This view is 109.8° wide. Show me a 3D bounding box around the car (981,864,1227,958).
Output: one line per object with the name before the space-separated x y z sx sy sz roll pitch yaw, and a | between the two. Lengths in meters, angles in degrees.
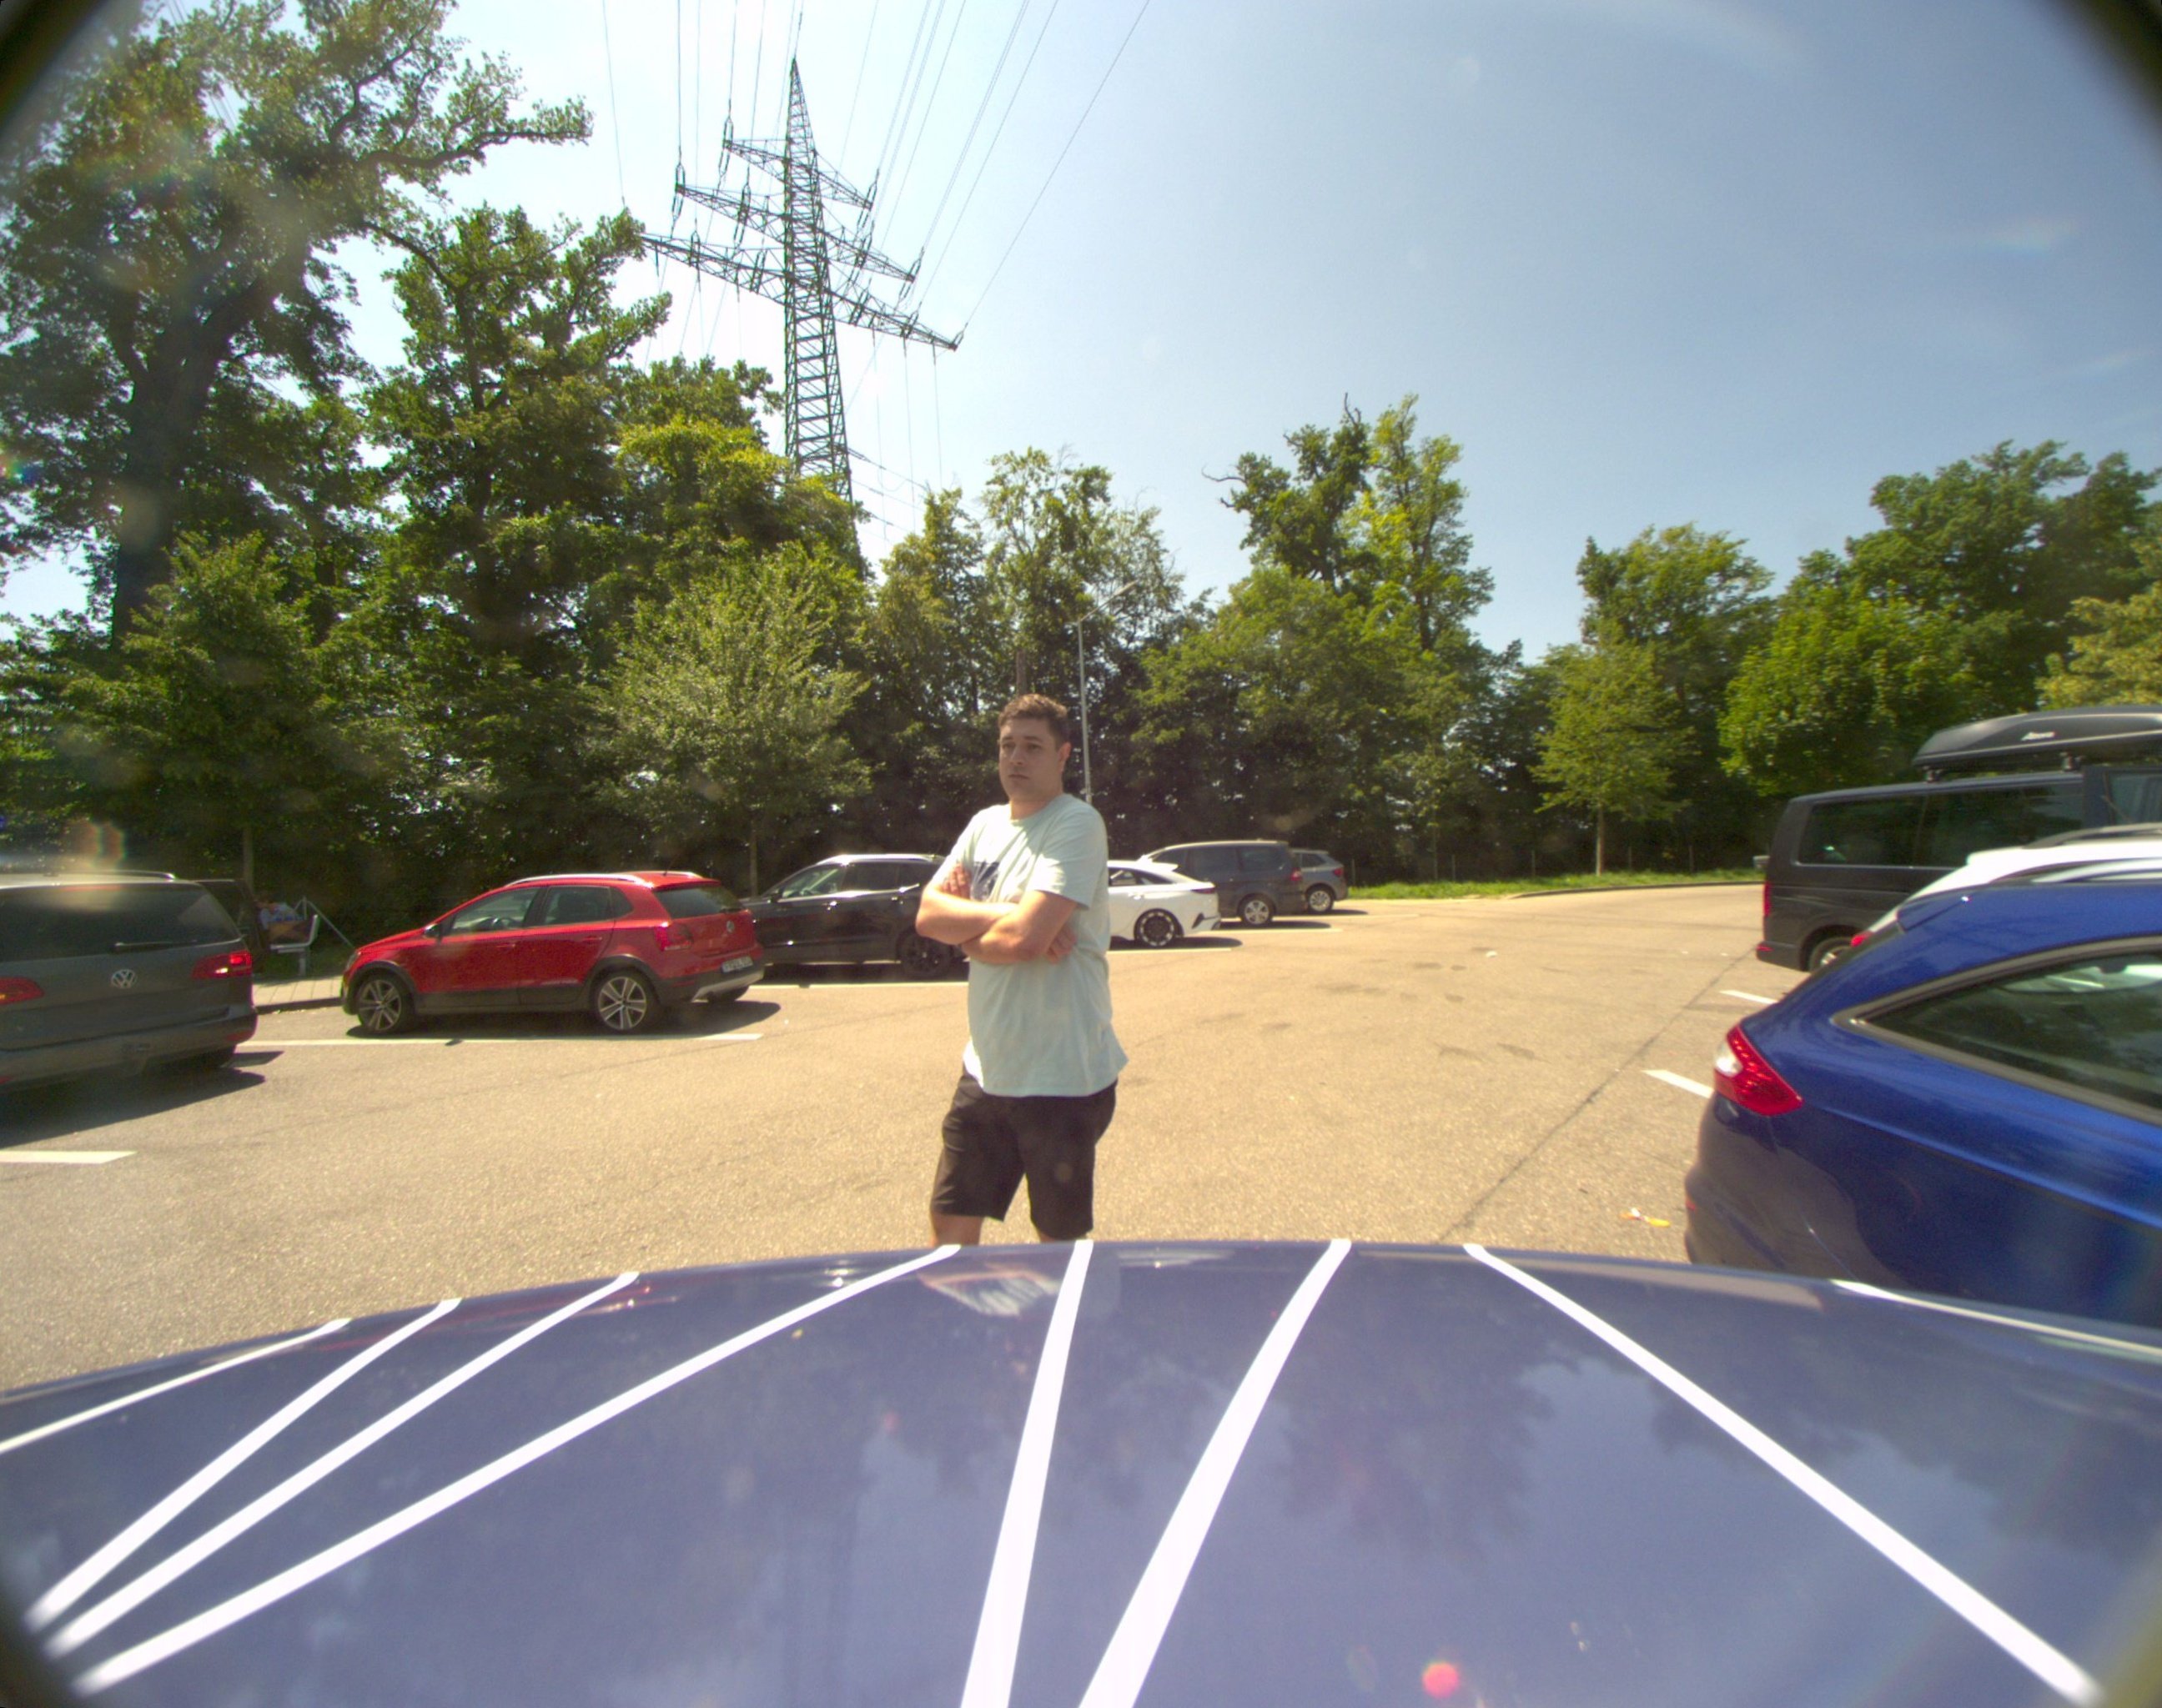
car | 0.412 0.910 12.724 3.805 1.359 1.803 -1 1 5

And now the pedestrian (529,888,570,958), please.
pedestrian | -10.164 1.300 14.519 0.490 1.291 0.506 -2 0 41

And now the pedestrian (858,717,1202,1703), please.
pedestrian | -0.186 0.668 1.880 0.634 1.857 0.747 -2 0 -17

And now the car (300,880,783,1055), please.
car | -5.237 1.066 7.648 3.804 1.449 1.637 -1 1 7

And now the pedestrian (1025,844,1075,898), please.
pedestrian | -0.758 0.415 18.839 0.890 1.292 0.865 -2 0 24

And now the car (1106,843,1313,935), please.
car | 2.514 0.684 15.474 3.882 1.680 1.882 -1 0 5

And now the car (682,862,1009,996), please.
car | -3.003 0.941 10.275 3.806 1.538 1.759 -1 1 2

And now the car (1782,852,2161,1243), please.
car | 4.783 0.704 2.411 1.607 1.405 3.743 -2 -1 -1

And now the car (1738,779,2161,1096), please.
car | 7.311 0.459 5.007 2.048 1.850 4.430 -2 -1 -1

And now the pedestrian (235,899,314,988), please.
pedestrian | -11.747 1.288 11.075 0.680 1.211 0.675 -4 -2 36

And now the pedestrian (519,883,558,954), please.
pedestrian | -10.949 1.283 15.325 0.490 1.367 0.506 -2 0 41

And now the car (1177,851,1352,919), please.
car | 4.263 0.711 18.118 3.805 1.468 1.743 -1 1 5

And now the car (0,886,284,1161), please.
car | -8.339 1.096 5.432 3.950 1.581 1.753 -1 1 11
